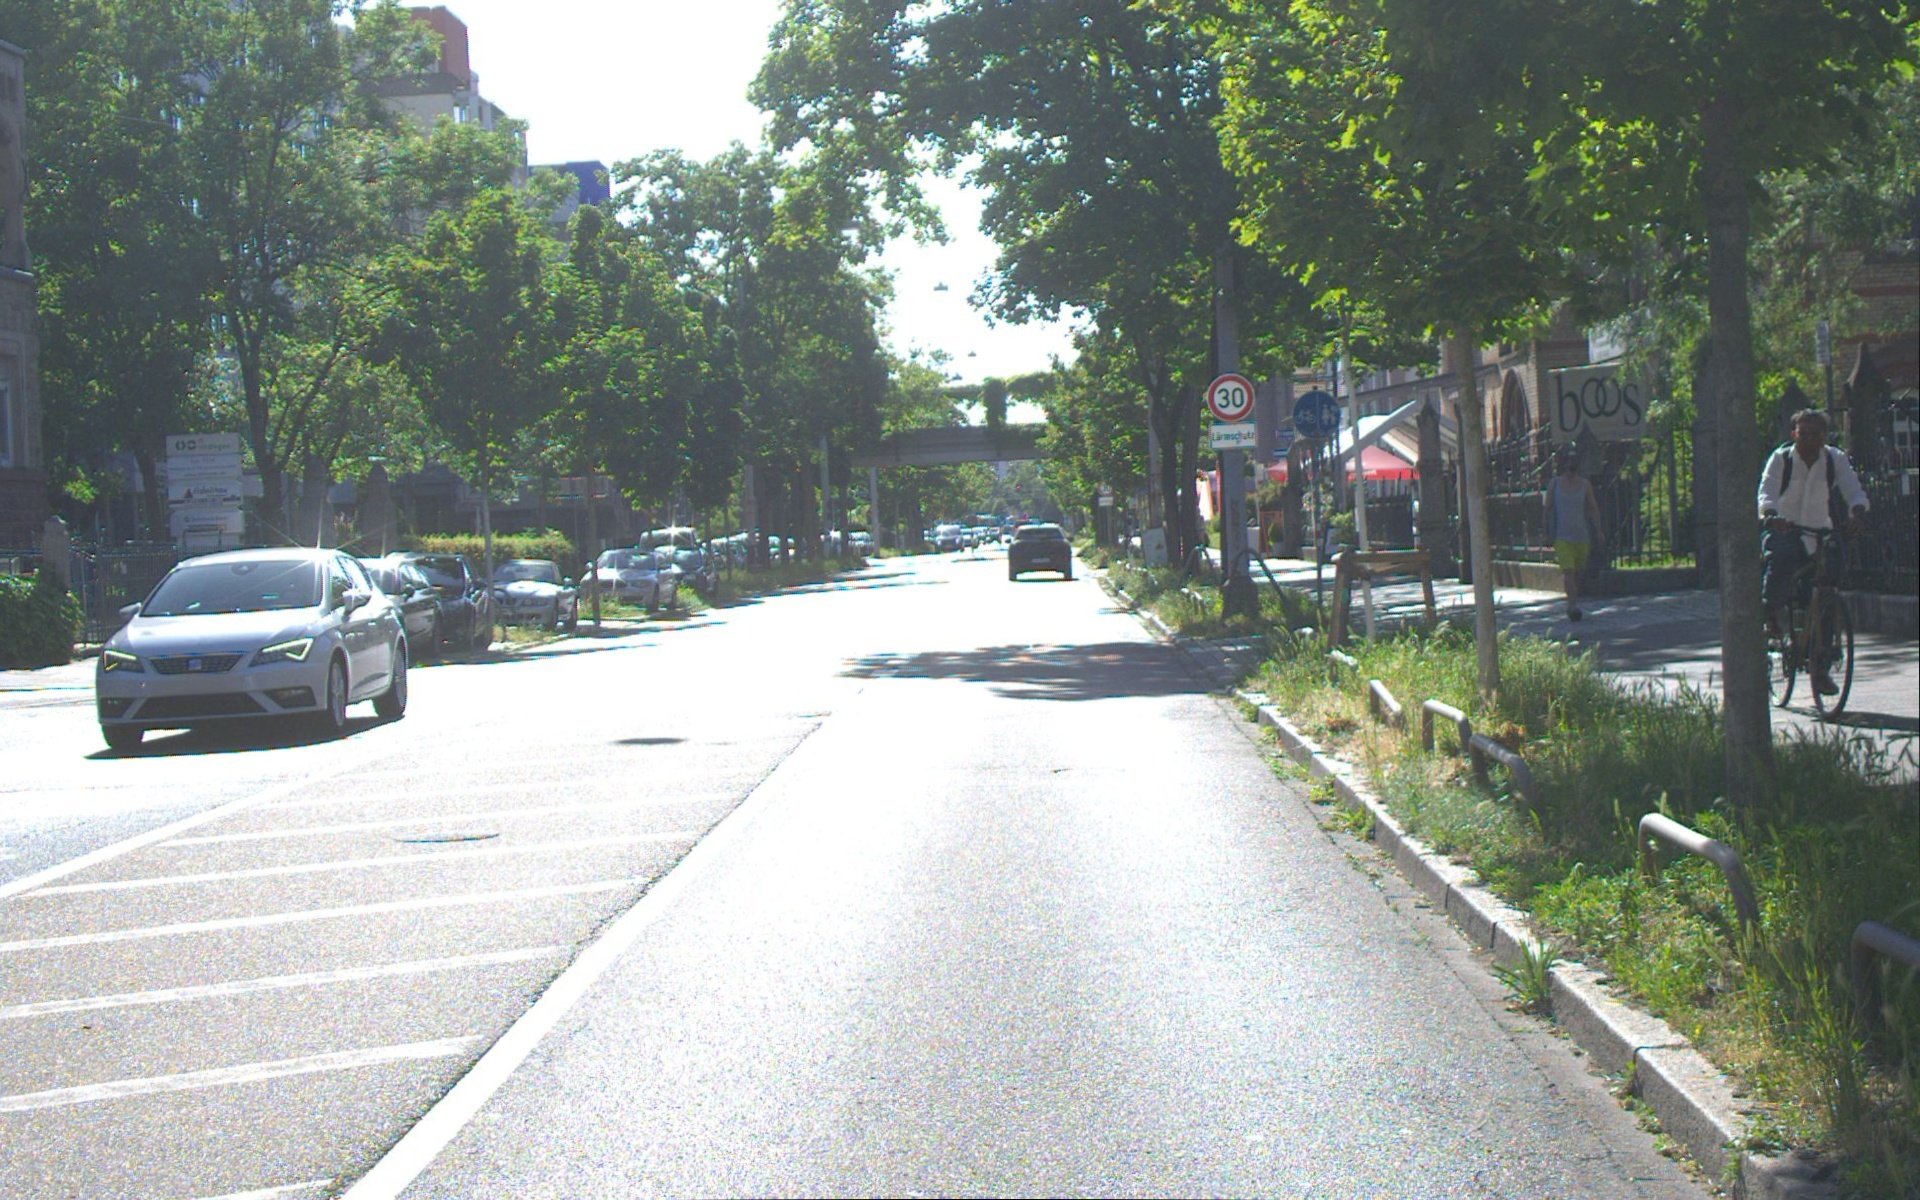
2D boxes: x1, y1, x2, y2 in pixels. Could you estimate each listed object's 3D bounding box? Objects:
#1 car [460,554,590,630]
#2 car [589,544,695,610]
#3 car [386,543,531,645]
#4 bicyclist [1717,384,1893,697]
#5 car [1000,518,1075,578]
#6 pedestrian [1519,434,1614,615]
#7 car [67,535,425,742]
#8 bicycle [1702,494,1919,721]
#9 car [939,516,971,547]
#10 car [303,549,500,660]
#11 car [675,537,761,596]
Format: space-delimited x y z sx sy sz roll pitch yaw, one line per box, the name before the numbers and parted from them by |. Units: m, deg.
car | -7.779 -0.172 61.787 1.678 1.251 4.015 -1 1 2
car | -7.157 -0.542 77.731 1.688 1.378 4.191 -1 1 4
car | -7.893 -0.128 54.444 1.855 1.489 4.707 1 1 -3
bicyclist | 4.782 -0.338 19.496 0.620 1.684 0.820 -5 1 -2
car | 2.151 -1.470 96.248 1.985 1.595 4.141 -2 1 0
pedestrian | 6.224 -0.780 35.245 0.748 1.781 0.810 -5 1 15
car | -5.530 0.240 27.164 1.918 1.414 4.225 -2 1 0
bicycle | 4.823 0.018 19.554 0.616 1.172 1.919 -5 2 -2
car | -0.291 -4.314 215.213 1.856 1.818 4.610 -4 1 0
car | -7.938 0.027 49.242 1.856 1.422 4.720 2 1 2
car | -6.265 -0.882 89.287 1.712 1.453 4.072 -1 1 3
